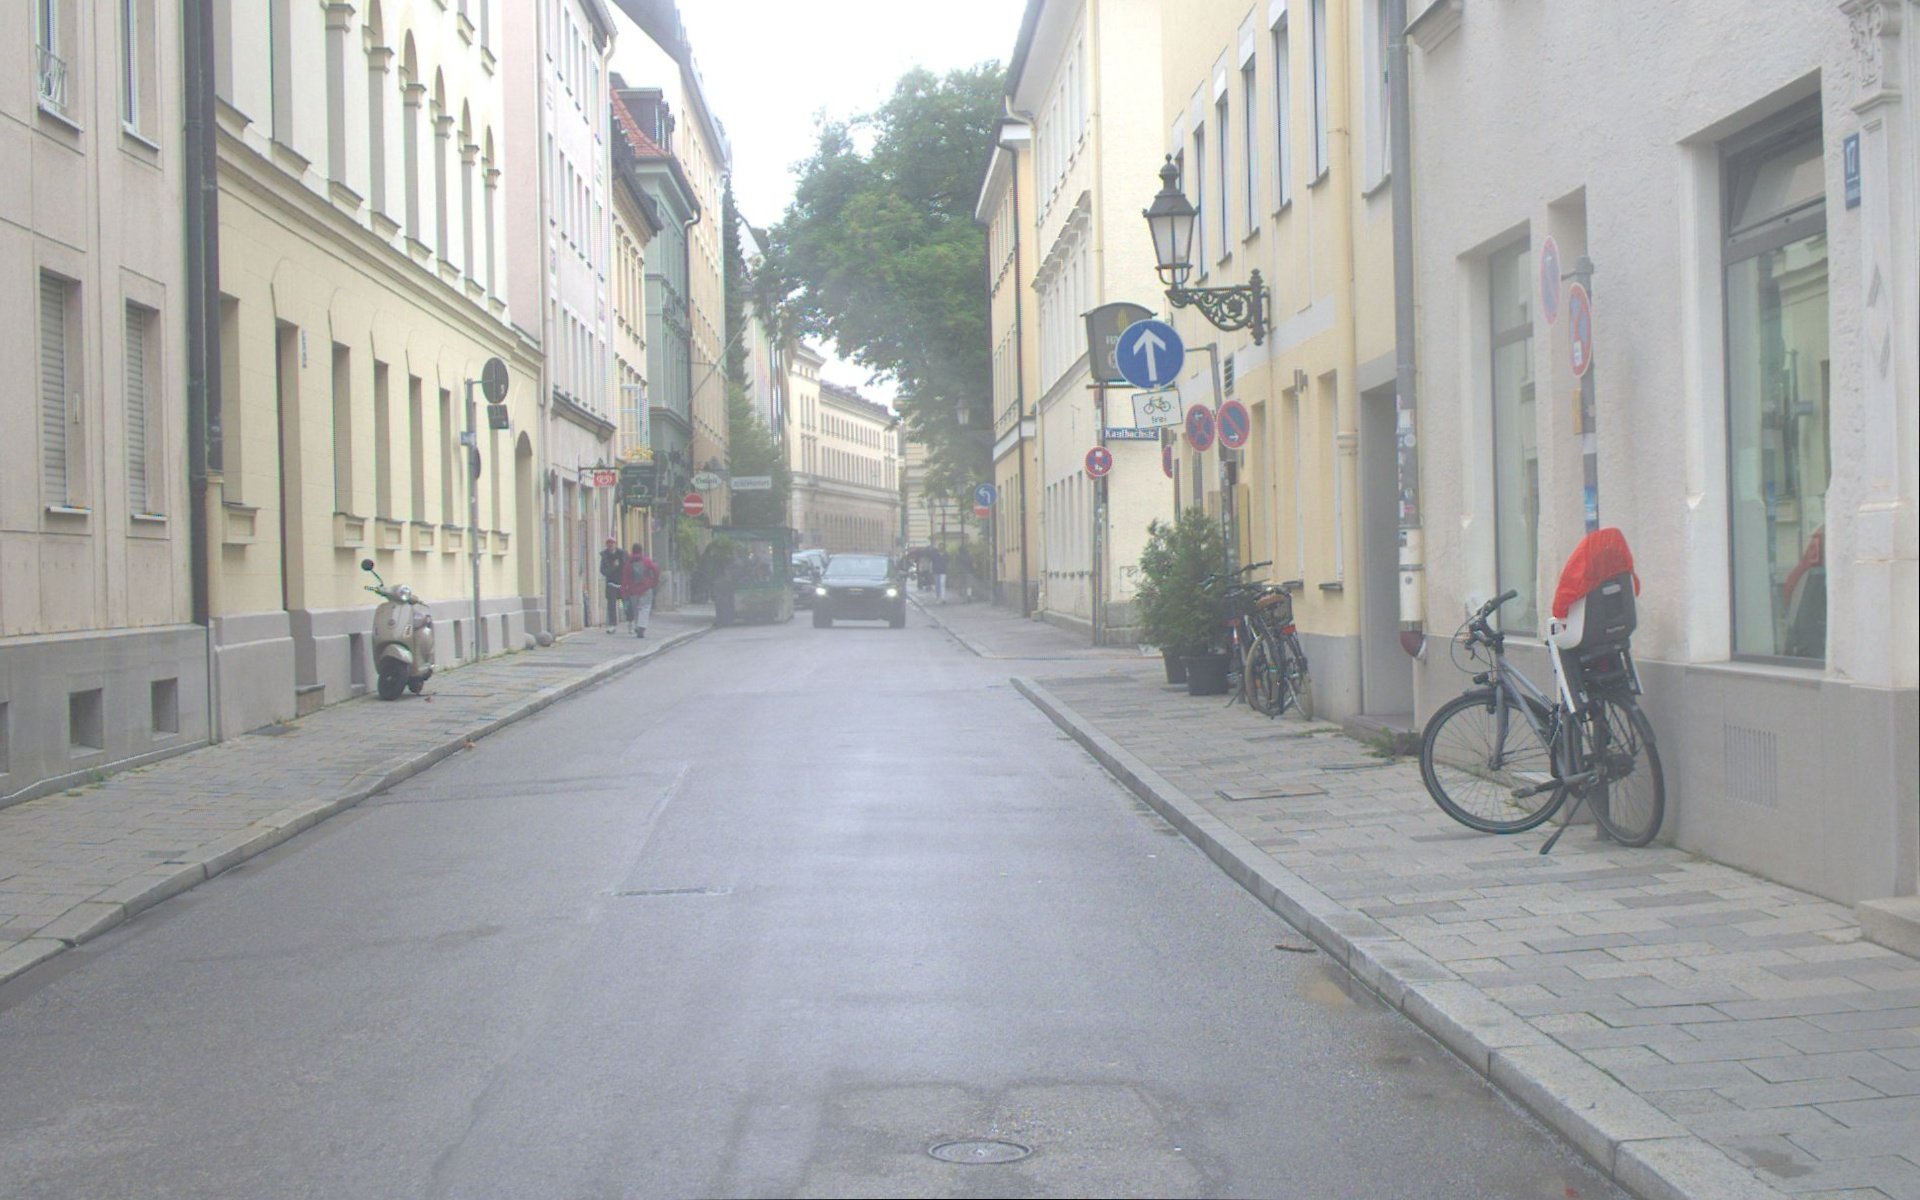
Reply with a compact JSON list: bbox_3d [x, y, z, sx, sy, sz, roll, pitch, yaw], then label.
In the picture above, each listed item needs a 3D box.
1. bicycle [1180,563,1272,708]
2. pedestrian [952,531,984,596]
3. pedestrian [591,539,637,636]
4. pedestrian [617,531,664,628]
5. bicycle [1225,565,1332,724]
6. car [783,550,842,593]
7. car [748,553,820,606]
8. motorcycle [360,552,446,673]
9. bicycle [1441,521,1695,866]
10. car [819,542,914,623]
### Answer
[{"bbox_3d":[2.202,0.279,28.607,0.565,1.133,1.684,-3,1,0],"label":"bicycle"},{"bbox_3d":[0.211,-1.030,96.101,0.880,1.796,1.046,0,1,-1],"label":"pedestrian"},{"bbox_3d":[-6.350,-0.235,63.117,0.809,1.749,0.990,0,2,-4],"label":"pedestrian"},{"bbox_3d":[-5.681,-0.362,61.127,0.765,1.702,0.785,-1,1,-4],"label":"pedestrian"},{"bbox_3d":[2.428,0.316,26.391,0.565,1.133,1.988,-3,1,0],"label":"bicycle"},{"bbox_3d":[-5.041,-0.987,117.715,1.779,1.461,3.542,0,1,1],"label":"car"},{"bbox_3d":[-4.978,-0.585,97.504,1.779,1.461,3.663,0,1,1],"label":"car"},{"bbox_3d":[-5.548,0.109,34.322,0.602,1.170,1.709,0,1,-1],"label":"motorcycle"},{"bbox_3d":[2.670,0.368,15.306,0.713,1.391,2.122,-3,1,1],"label":"bicycle"},{"bbox_3d":[-1.894,-0.375,70.413,1.812,1.588,4.000,-1,1,0],"label":"car"}]
